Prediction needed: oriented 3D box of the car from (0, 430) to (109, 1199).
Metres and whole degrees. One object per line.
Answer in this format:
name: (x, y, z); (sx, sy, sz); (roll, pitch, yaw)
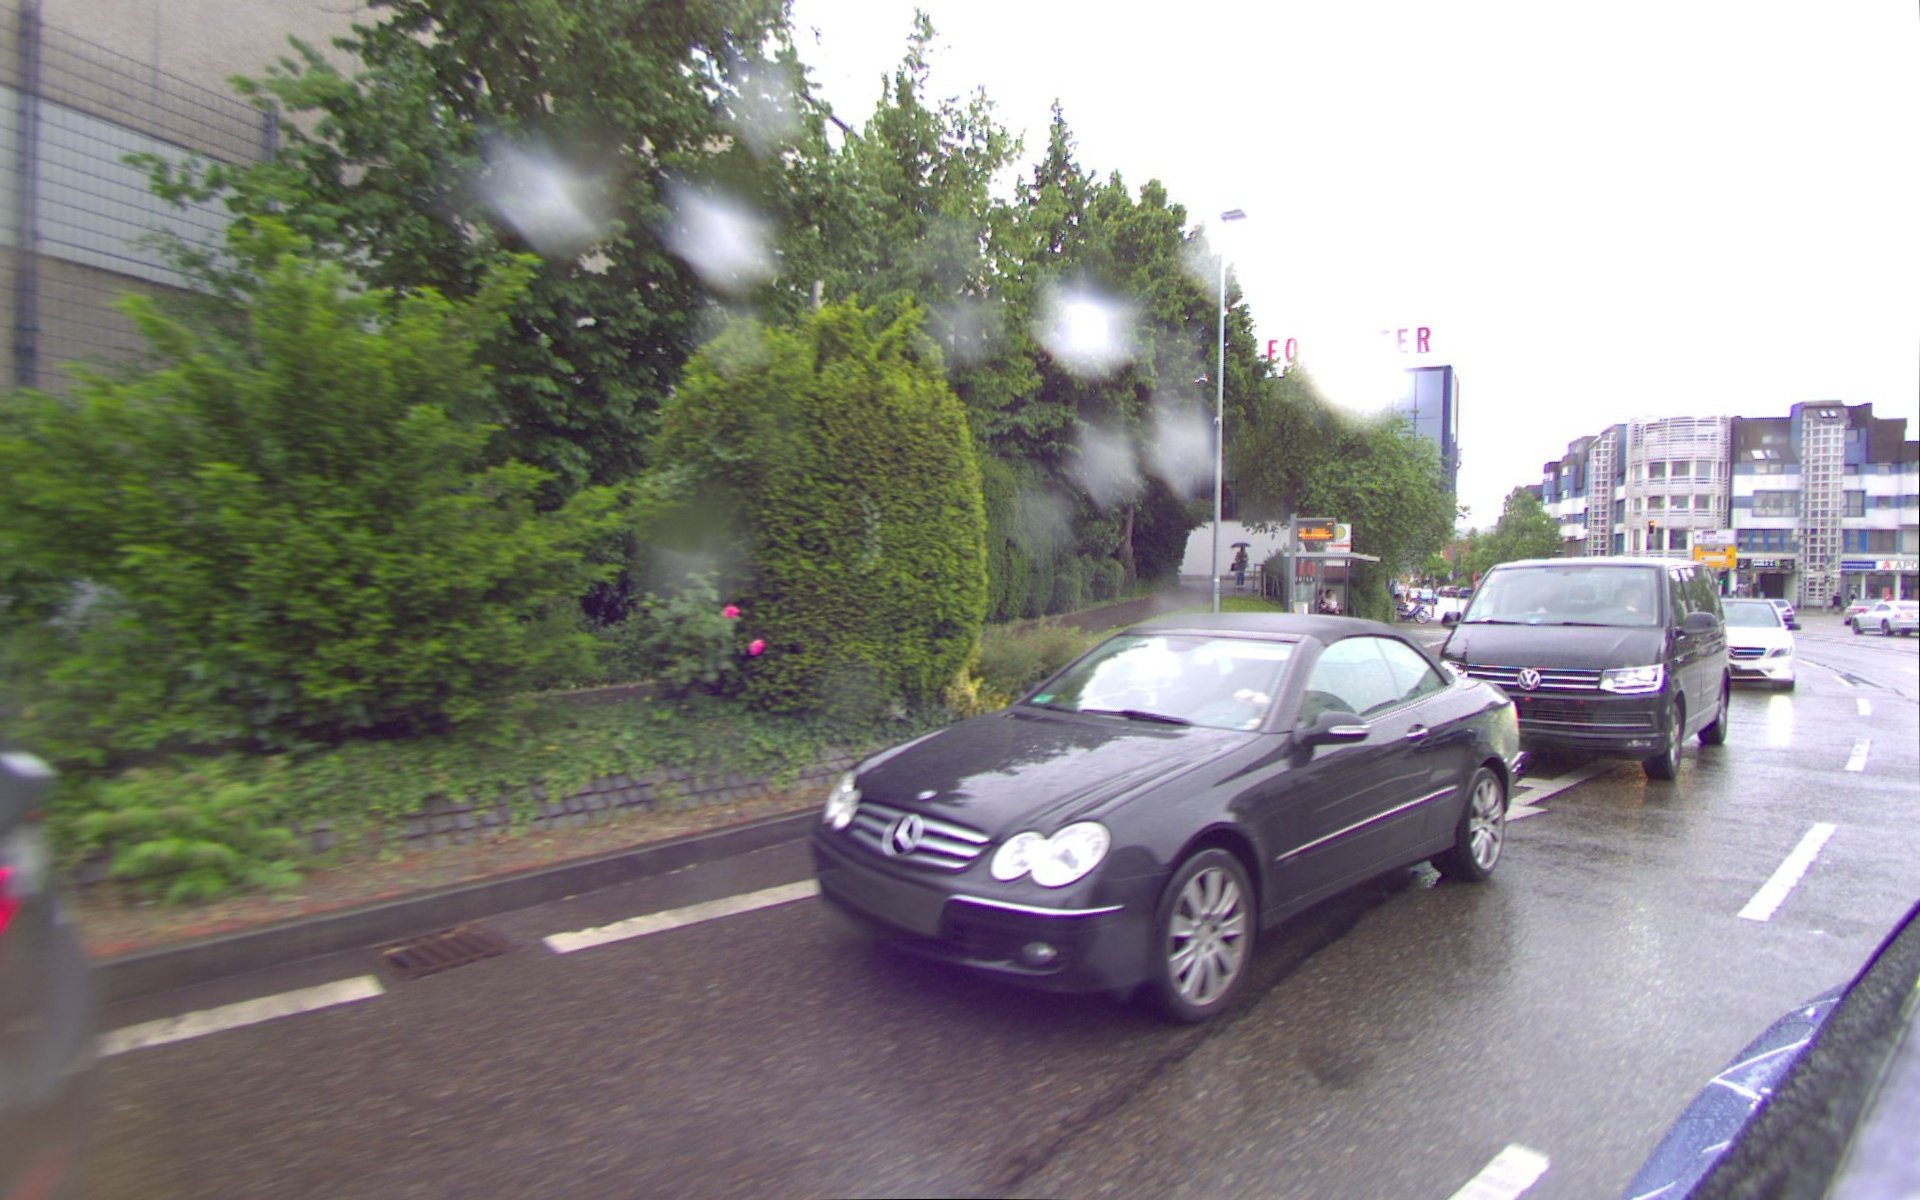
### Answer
car: (-3.353, 0.606, 0.659); (4.259, 1.641, 1.905); (0, 1, -40)

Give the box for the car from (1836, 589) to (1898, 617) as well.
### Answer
car: (50.425, 0.143, 56.355); (1.750, 1.445, 4.831); (1, 1, 32)

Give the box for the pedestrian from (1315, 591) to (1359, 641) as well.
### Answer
pedestrian: (10.503, 0.434, 28.210); (1.024, 1.297, 0.685); (4, 2, 28)

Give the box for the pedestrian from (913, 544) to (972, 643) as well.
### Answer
pedestrian: (-0.324, -0.128, 19.214); (0.842, 1.818, 0.789); (0, 0, 28)

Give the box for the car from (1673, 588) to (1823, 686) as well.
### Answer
car: (14.357, 0.593, 18.345); (1.756, 1.569, 4.259); (-2, -1, 43)

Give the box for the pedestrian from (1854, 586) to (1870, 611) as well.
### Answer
pedestrian: (65.304, -0.122, 73.278); (0.834, 1.765, 0.577); (0, 0, 36)

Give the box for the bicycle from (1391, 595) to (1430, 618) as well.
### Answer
bicycle: (24.155, 0.326, 54.255); (1.819, 1.124, 0.687); (2, 2, 28)

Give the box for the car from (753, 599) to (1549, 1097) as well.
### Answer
car: (1.319, 0.715, 5.054); (4.439, 1.403, 1.633); (0, 1, -43)

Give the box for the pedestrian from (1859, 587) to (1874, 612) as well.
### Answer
pedestrian: (66.394, -0.040, 74.096); (0.574, 1.765, 0.684); (0, 0, -35)

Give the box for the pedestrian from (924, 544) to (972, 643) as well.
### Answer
pedestrian: (-0.223, -0.138, 19.151); (0.668, 1.819, 0.668); (1, 3, 26)

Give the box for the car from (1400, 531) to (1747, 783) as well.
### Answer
car: (6.231, 0.391, 10.018); (1.996, 1.918, 4.514); (0, 1, 44)

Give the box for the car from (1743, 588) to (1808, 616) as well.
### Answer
car: (47.296, 0.077, 58.808); (1.684, 1.484, 4.076); (2, 1, 20)

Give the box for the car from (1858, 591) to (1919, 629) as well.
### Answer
car: (38.989, 0.364, 41.451); (1.827, 1.479, 4.772); (0, 1, 23)

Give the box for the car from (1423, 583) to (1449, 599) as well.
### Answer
car: (48.173, -0.915, 102.495); (1.877, 1.545, 3.975); (1, 1, 19)

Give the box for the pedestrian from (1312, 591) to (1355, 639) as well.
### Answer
pedestrian: (10.685, 0.425, 28.951); (1.024, 1.297, 0.685); (4, 2, 28)
